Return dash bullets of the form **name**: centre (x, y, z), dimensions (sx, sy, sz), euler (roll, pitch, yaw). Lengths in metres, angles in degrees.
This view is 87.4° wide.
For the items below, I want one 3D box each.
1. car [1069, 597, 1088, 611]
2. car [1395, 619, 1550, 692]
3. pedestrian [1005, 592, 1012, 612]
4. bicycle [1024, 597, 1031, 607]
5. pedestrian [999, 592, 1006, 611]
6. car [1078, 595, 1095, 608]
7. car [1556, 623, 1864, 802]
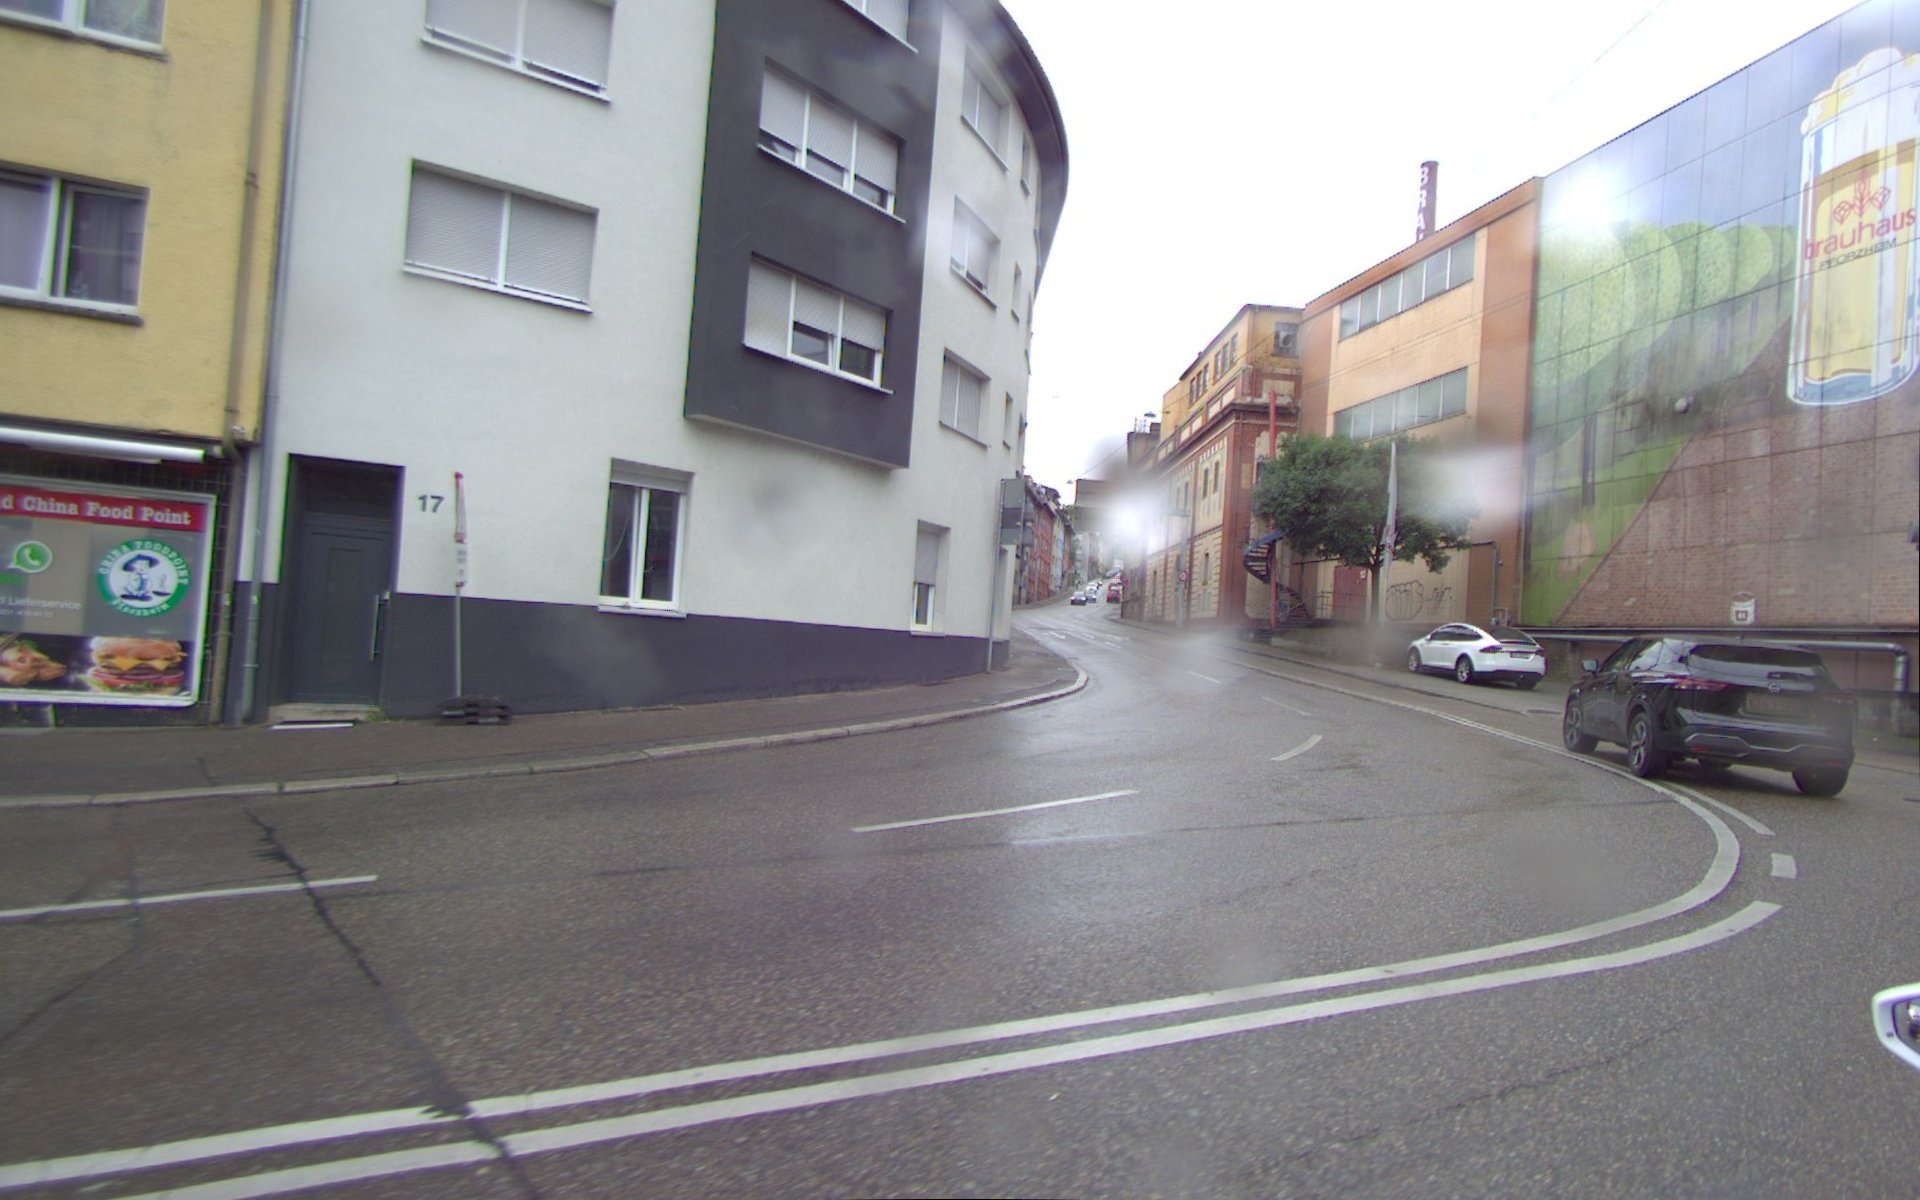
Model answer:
- **car**: centre (14.979, 0.507, 127.046), dimensions (1.764, 1.530, 4.003), euler (3, -2, 14)
- **car**: centre (14.852, 1.540, 29.482), dimensions (1.823, 1.639, 4.913), euler (4, 2, -2)
- **pedestrian**: centre (4.607, 0.179, 95.354), dimensions (0.514, 1.800, 0.622), euler (3, 1, 5)
- **bicycle**: centre (7.907, 0.194, 117.895), dimensions (0.490, 1.122, 1.801), euler (3, 2, 12)
- **pedestrian**: centre (4.036, 0.144, 95.387), dimensions (0.514, 1.800, 0.622), euler (3, 1, 5)
- **car**: centre (17.490, 0.239, 139.017), dimensions (1.764, 1.530, 4.003), euler (3, -2, 14)
- **car**: centre (8.533, 1.192, 11.873), dimensions (1.850, 1.614, 3.921), euler (3, -2, 21)
